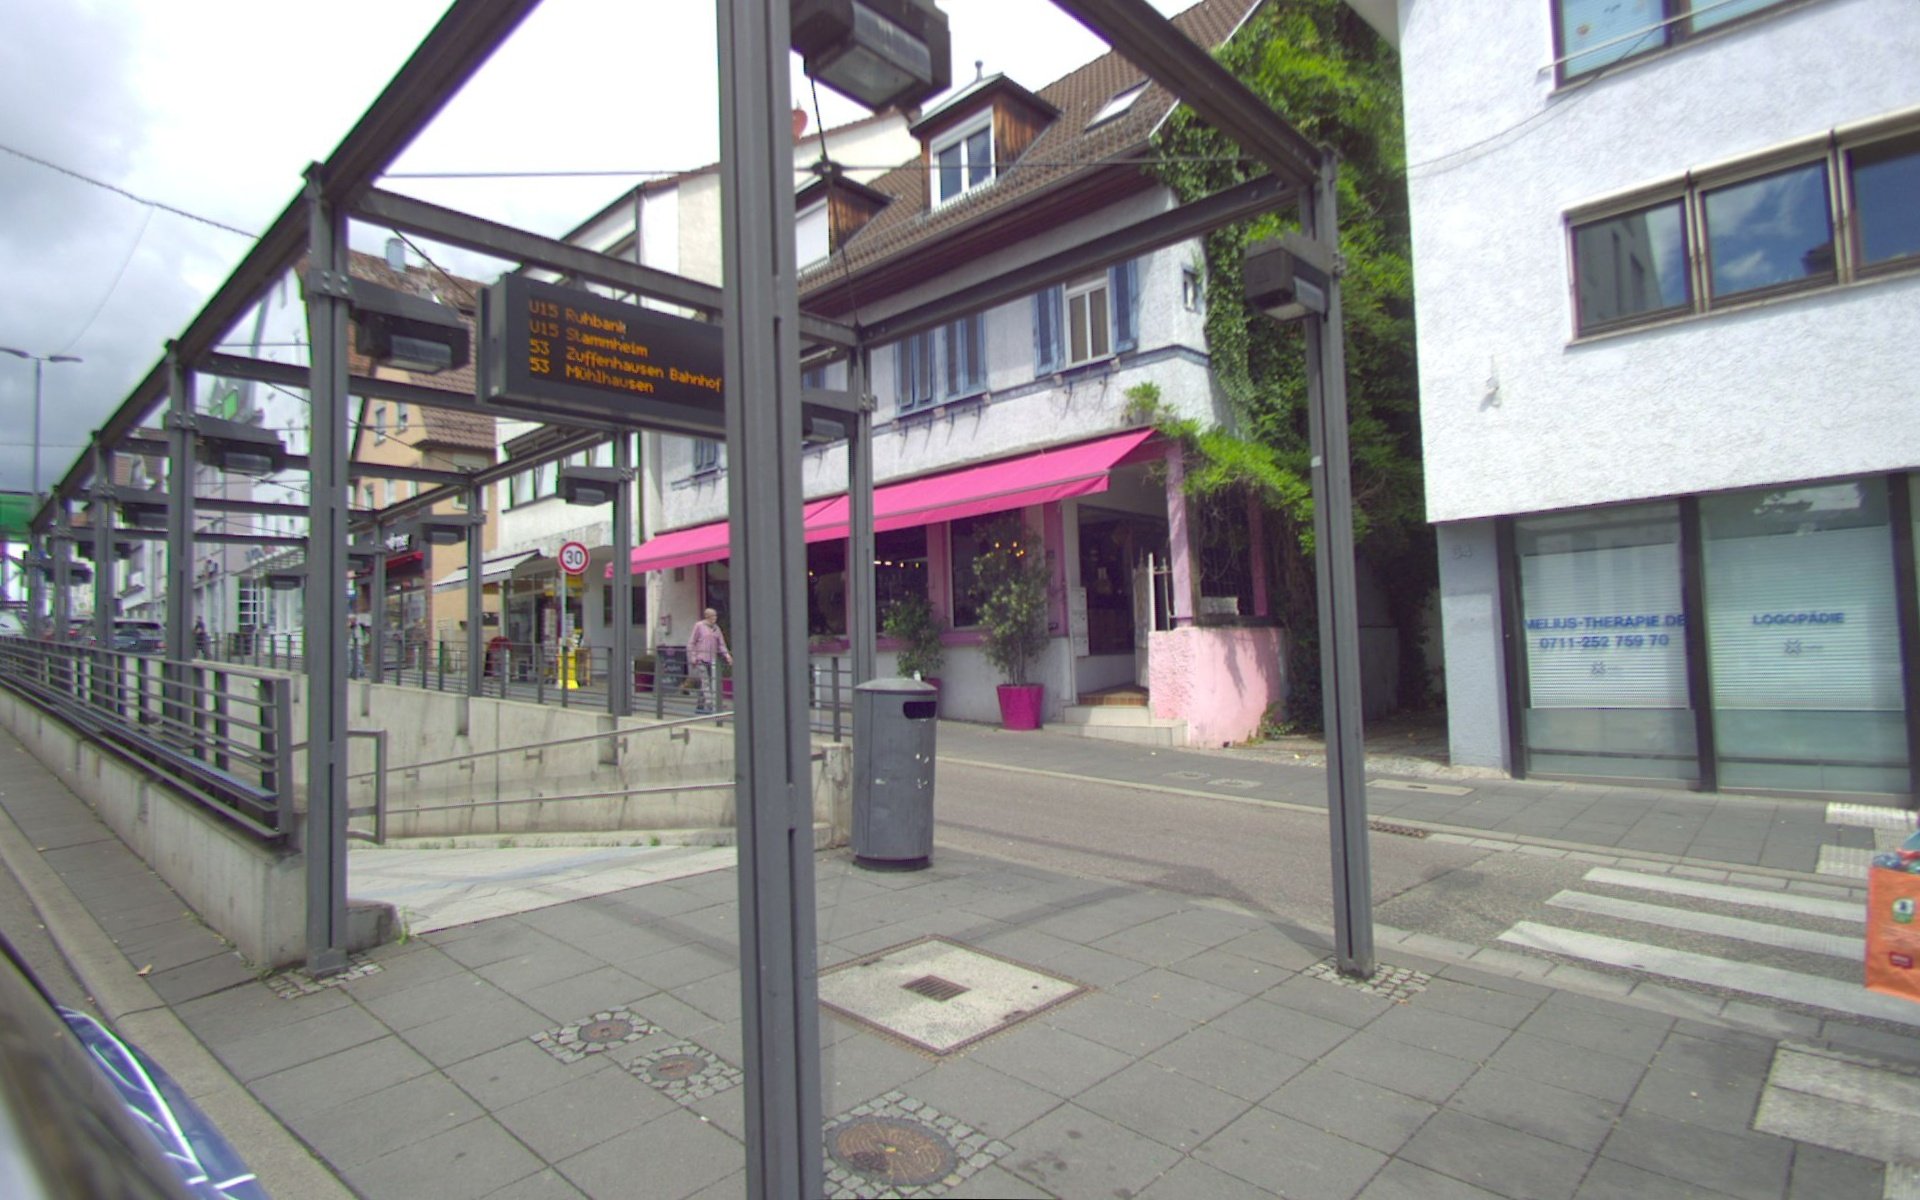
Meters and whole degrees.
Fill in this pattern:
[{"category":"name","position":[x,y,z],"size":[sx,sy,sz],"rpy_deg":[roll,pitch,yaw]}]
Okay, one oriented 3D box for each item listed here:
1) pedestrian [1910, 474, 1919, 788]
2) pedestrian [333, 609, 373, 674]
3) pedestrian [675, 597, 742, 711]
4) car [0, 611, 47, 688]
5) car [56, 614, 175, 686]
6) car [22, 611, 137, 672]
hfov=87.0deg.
[{"category":"pedestrian","position":[3.472,0.524,2.807],"size":[0.904,1.801,0.990],"rpy_deg":[2,-3,-32]},{"category":"pedestrian","position":[-16.401,1.117,27.345],"size":[0.664,1.727,0.738],"rpy_deg":[-2,-3,42]},{"category":"pedestrian","position":[-4.016,0.847,16.150],"size":[0.825,1.753,0.686],"rpy_deg":[-2,-3,44]},{"category":"car","position":[-21.626,1.064,22.095],"size":[4.428,1.578,1.973],"rpy_deg":[-1,-1,40]},{"category":"car","position":[-20.363,1.153,24.362],"size":[3.897,1.559,1.681],"rpy_deg":[-1,-1,42]},{"category":"car","position":[-25.208,1.140,28.921],"size":[4.493,1.601,1.972],"rpy_deg":[-1,-1,42]}]
